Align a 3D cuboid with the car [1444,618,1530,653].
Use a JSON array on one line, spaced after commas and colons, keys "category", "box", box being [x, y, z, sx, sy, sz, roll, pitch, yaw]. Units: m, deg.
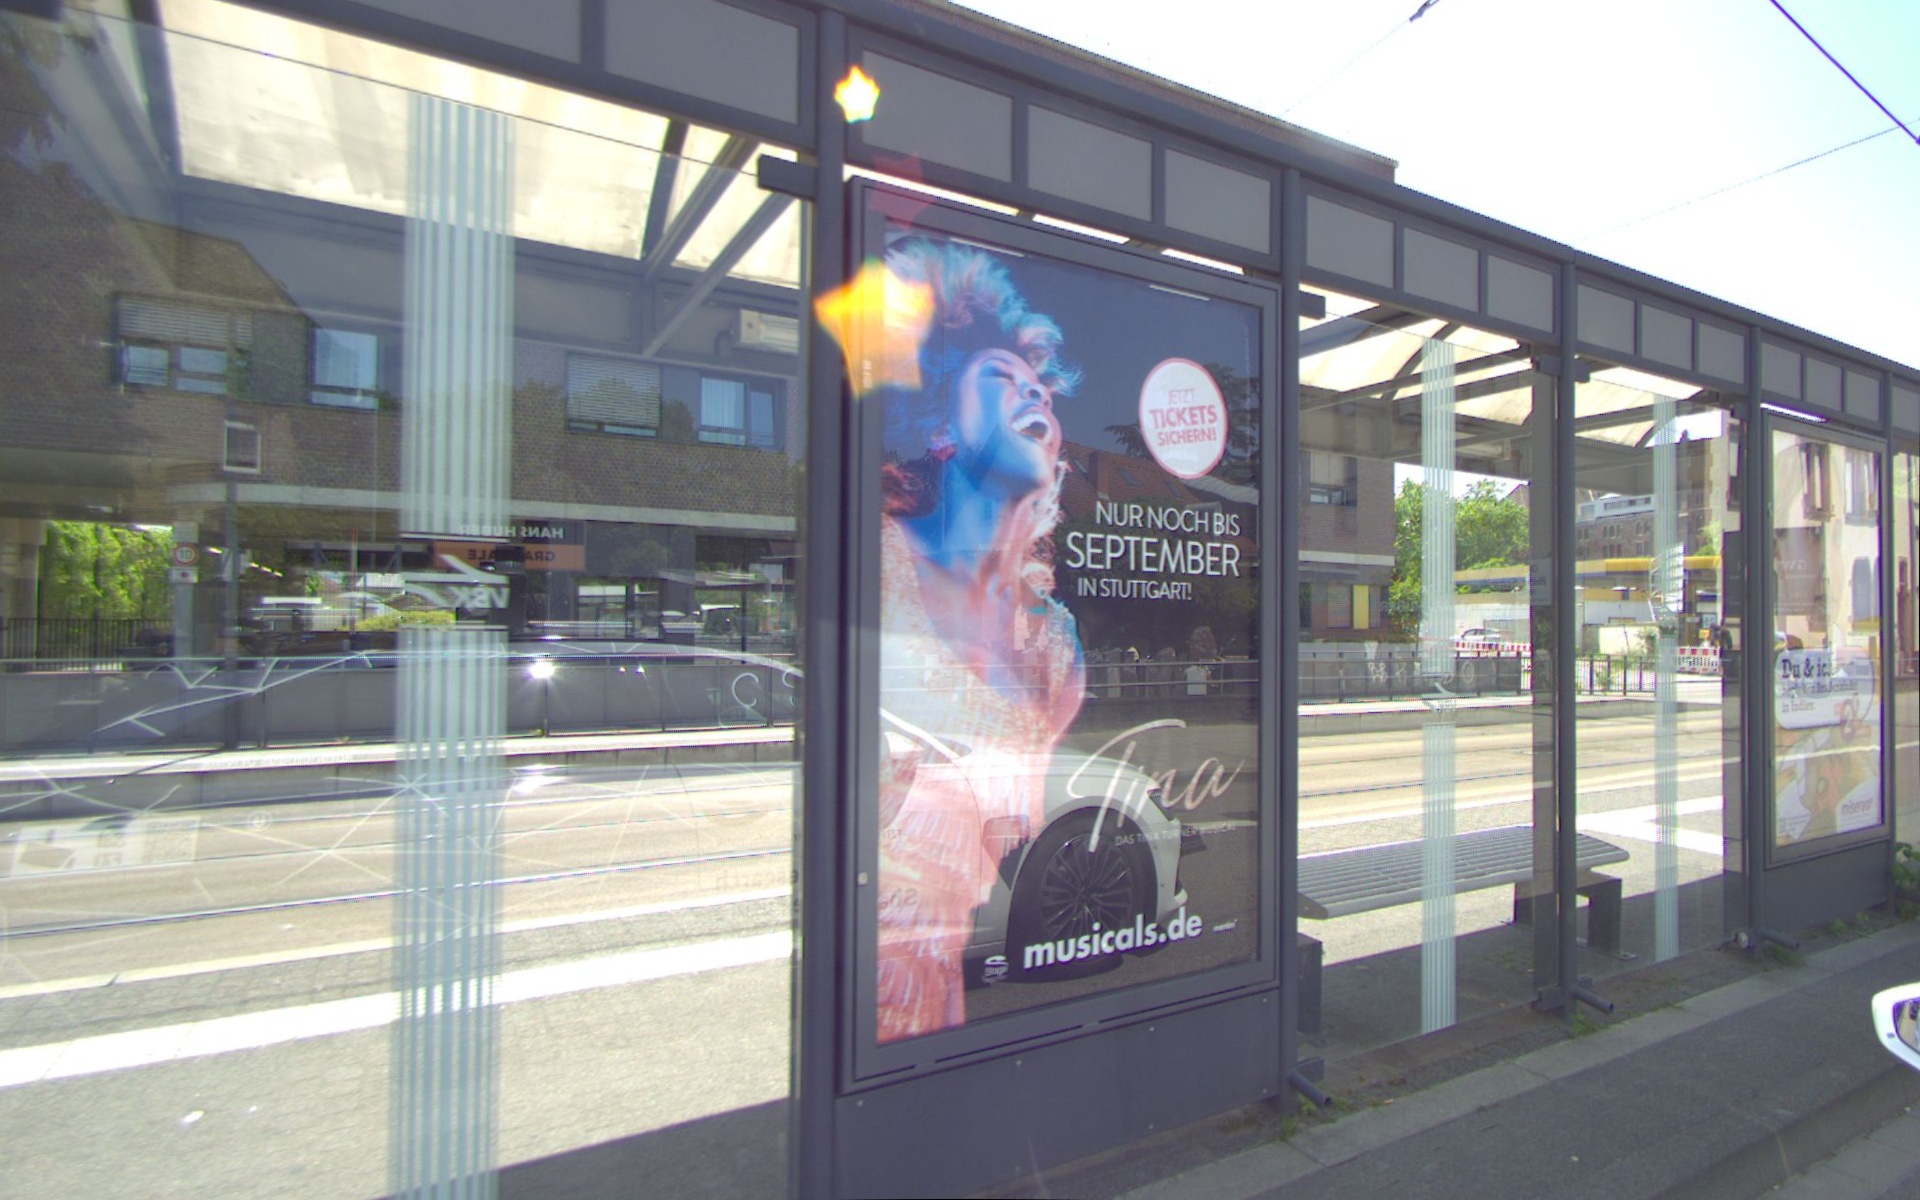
[{"category": "car", "box": [29.027, 1.930, 55.480, 1.859, 1.769, 4.267, 1, 0, -12]}]
